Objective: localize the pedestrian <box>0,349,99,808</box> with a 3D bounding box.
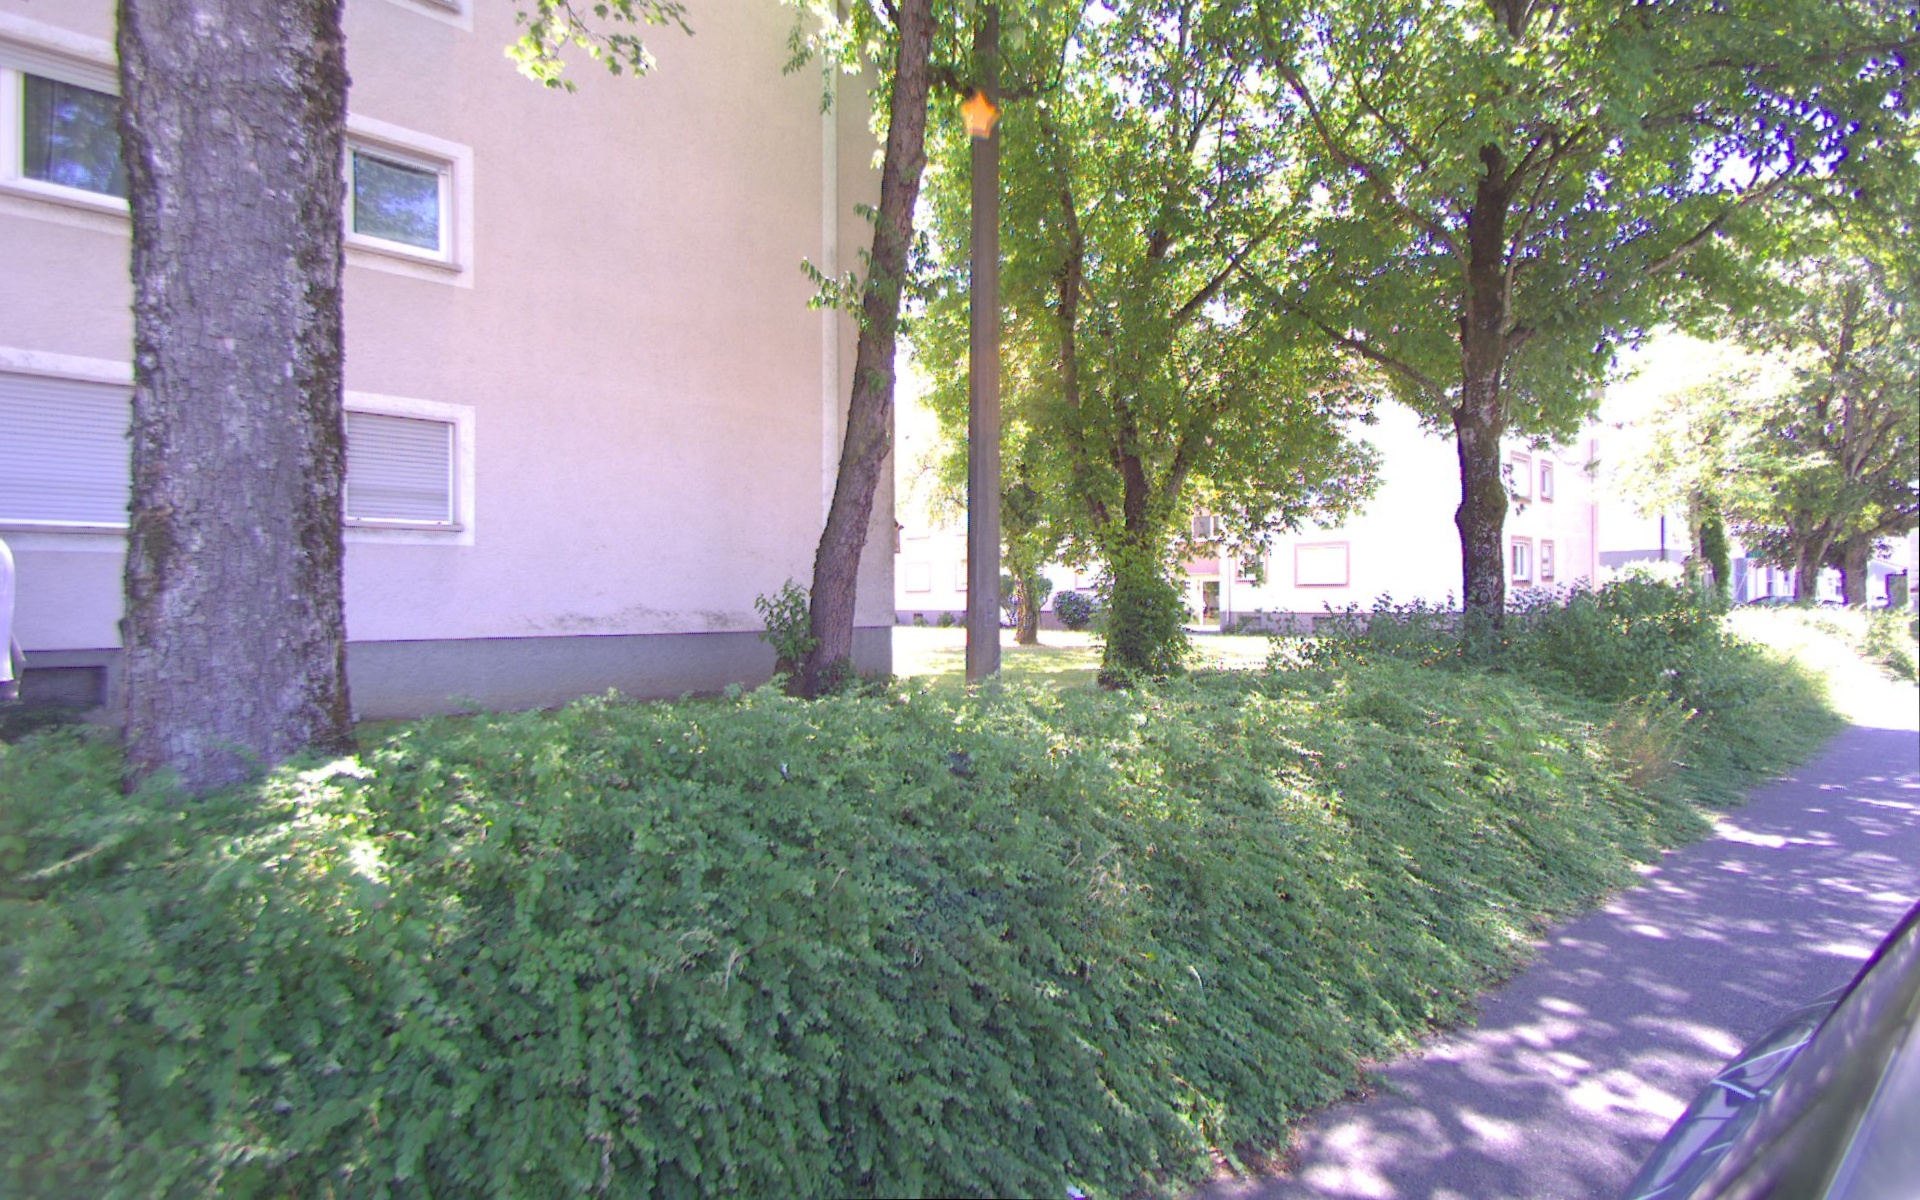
[{"bbox_3d":[-4.315,-0.082,4.236,0.668,1.897,0.894,-2,-1,28],"label":"pedestrian"}]
